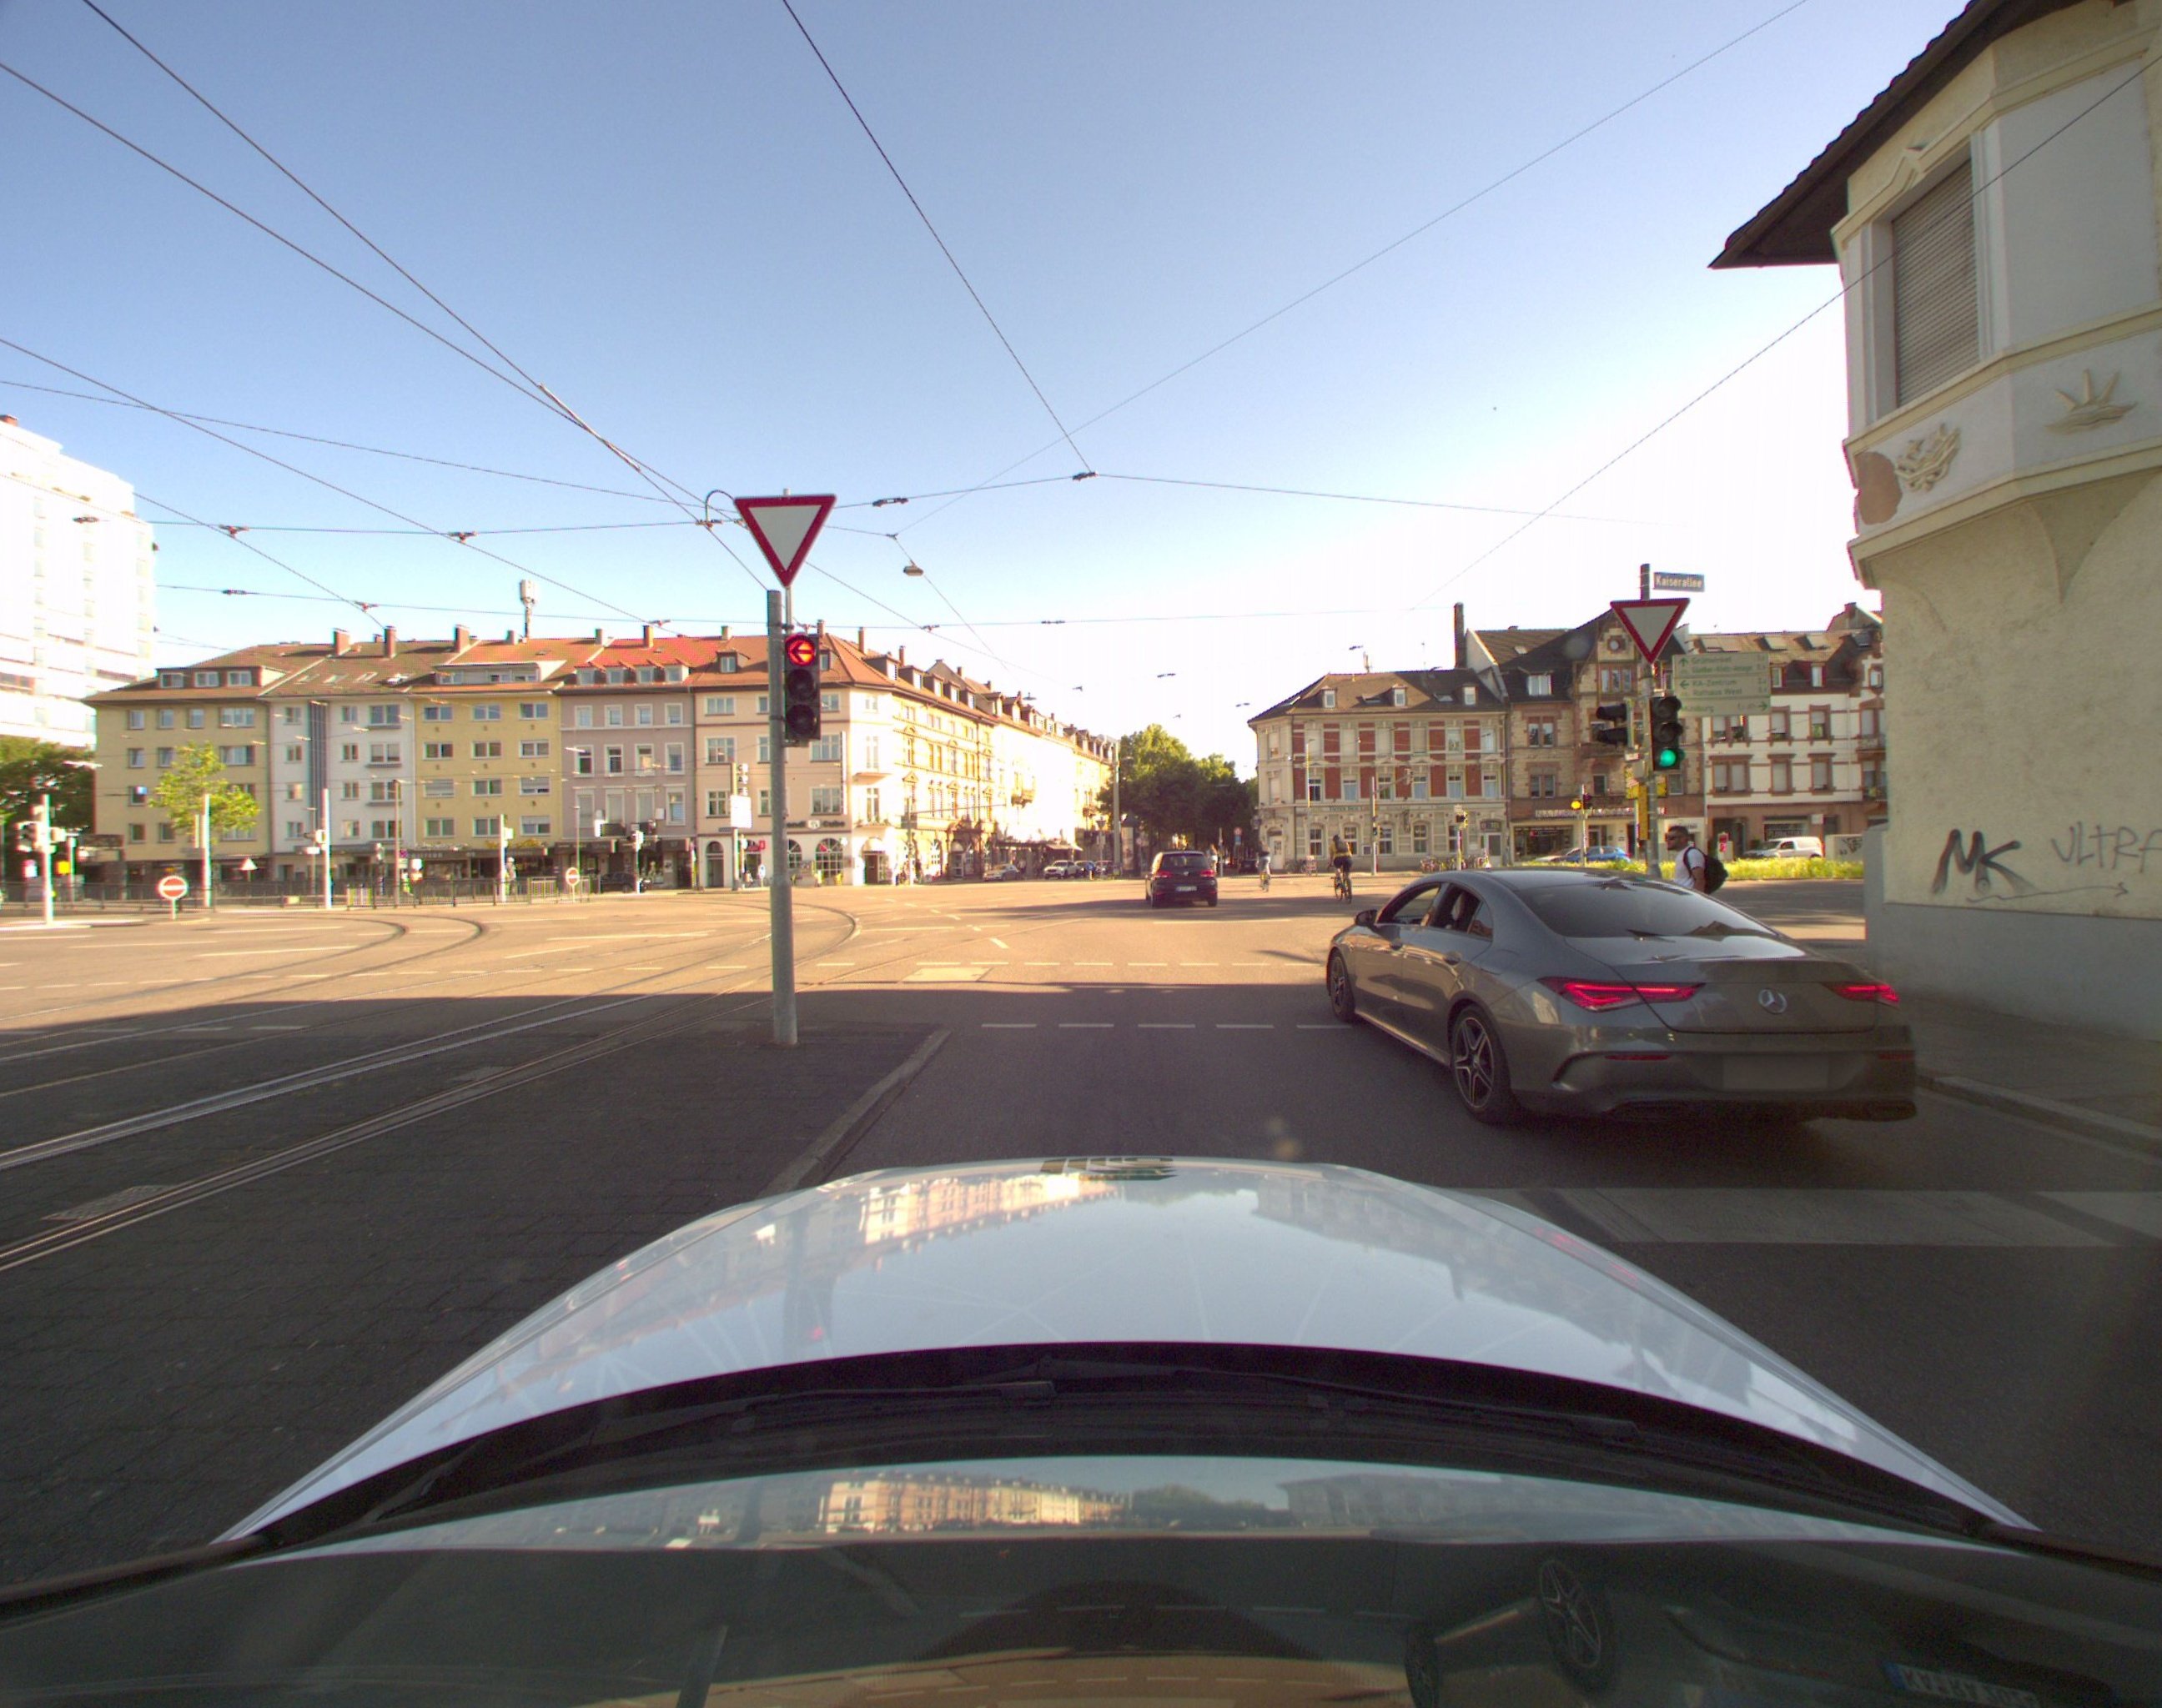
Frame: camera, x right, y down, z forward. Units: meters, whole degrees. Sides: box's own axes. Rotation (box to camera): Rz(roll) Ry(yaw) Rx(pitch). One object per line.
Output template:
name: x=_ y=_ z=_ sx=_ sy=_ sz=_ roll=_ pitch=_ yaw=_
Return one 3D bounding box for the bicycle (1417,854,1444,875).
bicycle: x=22.480 y=0.660 z=52.462 sx=0.689 sy=1.287 sz=2.663 roll=0 pitch=-1 yaw=3

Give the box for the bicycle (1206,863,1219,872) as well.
bicycle: x=15.995 y=1.652 z=98.862 sx=0.630 sy=1.085 sz=1.687 roll=0 pitch=-1 yaw=-28

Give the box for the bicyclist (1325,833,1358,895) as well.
bicyclist: x=7.104 y=0.275 z=22.201 sx=0.799 sy=1.663 sz=0.888 roll=-1 pitch=-1 yaw=19

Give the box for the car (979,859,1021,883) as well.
car: x=-6.672 y=1.368 z=67.438 sx=1.977 sy=1.904 sz=4.019 roll=-1 pitch=-1 yaw=19

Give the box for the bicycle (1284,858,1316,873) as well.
bicycle: x=15.299 y=0.802 z=56.897 sx=2.040 sy=0.998 sz=0.631 roll=-2 pitch=-1 yaw=4

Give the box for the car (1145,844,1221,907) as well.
car: x=2.733 y=0.513 z=22.570 sx=1.722 sy=1.508 sz=4.053 roll=0 pitch=1 yaw=2

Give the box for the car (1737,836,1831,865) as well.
car: x=45.309 y=-0.228 z=52.565 sx=4.349 sy=1.778 sz=2.000 roll=0 pitch=-1 yaw=1

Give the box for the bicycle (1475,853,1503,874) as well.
bicycle: x=26.195 y=0.605 z=52.352 sx=0.626 sy=1.287 sz=2.663 roll=0 pitch=-1 yaw=3

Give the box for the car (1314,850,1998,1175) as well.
car: x=3.164 y=0.716 z=5.841 sx=1.899 sy=1.420 sz=4.496 roll=0 pitch=0 yaw=3

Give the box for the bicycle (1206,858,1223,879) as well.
bicycle: x=6.646 y=0.709 z=40.524 sx=0.644 sy=1.031 sz=1.778 roll=-1 pitch=-1 yaw=15

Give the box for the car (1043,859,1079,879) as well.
car: x=-1.605 y=1.233 z=67.594 sx=1.979 sy=1.618 sz=4.015 roll=-1 pitch=-1 yaw=14

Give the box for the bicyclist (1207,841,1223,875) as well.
bicyclist: x=6.662 y=0.200 z=40.604 sx=0.684 sy=1.633 sz=0.887 roll=-1 pitch=-1 yaw=15

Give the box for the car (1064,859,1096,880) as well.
car: x=-0.067 y=1.370 z=73.744 sx=1.979 sy=1.904 sz=4.015 roll=-1 pitch=-1 yaw=14

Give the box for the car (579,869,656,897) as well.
car: x=-30.591 y=1.918 z=53.817 sx=3.962 sy=1.670 sz=2.006 roll=-2 pitch=0 yaw=10

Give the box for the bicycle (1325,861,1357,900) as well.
bicycle: x=7.164 y=0.707 z=22.406 sx=0.748 sy=1.031 sz=1.789 roll=-1 pitch=-1 yaw=20

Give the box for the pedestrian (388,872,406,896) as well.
pedestrian: x=-47.195 y=2.085 z=56.214 sx=0.631 sy=1.634 sz=0.700 roll=0 pitch=-1 yaw=-2

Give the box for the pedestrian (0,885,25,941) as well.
pedestrian: x=-32.283 y=1.772 z=24.466 sx=0.590 sy=1.664 sz=0.518 roll=0 pitch=-1 yaw=-44

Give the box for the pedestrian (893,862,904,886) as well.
pedestrian: x=-12.639 y=1.365 z=56.365 sx=0.631 sy=1.634 sz=0.700 roll=0 pitch=-1 yaw=-2

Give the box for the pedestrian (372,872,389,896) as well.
pedestrian: x=-49.645 y=2.115 z=57.729 sx=0.631 sy=1.634 sz=0.700 roll=0 pitch=-1 yaw=-2

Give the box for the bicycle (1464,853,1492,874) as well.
bicycle: x=25.500 y=0.609 z=52.381 sx=0.626 sy=1.287 sz=2.663 roll=0 pitch=-1 yaw=3

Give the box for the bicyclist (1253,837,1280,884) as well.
bicyclist: x=6.448 y=0.238 z=28.342 sx=0.801 sy=1.606 sz=0.885 roll=0 pitch=-1 yaw=7

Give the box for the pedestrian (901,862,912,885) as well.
pedestrian: x=-12.358 y=1.356 z=57.710 sx=0.631 sy=1.634 sz=0.700 roll=0 pitch=-1 yaw=-2

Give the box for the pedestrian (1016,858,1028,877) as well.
pedestrian: x=-4.761 y=1.106 z=65.488 sx=0.814 sy=1.512 sz=0.601 roll=-1 pitch=-1 yaw=16

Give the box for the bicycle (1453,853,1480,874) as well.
bicycle: x=24.773 y=0.618 z=52.385 sx=0.626 sy=1.287 sz=2.663 roll=0 pitch=-1 yaw=3

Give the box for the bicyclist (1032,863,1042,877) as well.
bicyclist: x=-3.805 y=1.359 z=70.542 sx=0.626 sy=1.185 sz=0.689 roll=-1 pitch=-1 yaw=23

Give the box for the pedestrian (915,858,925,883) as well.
pedestrian: x=-11.993 y=1.226 z=60.616 sx=0.460 sy=1.881 sz=0.637 roll=-1 pitch=-1 yaw=12

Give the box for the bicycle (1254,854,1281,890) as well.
bicycle: x=6.491 y=0.624 z=28.447 sx=0.751 sy=1.236 sz=1.706 roll=0 pitch=-1 yaw=7

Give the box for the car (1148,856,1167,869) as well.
car: x=11.501 y=1.335 z=122.609 sx=1.977 sy=1.904 sz=4.019 roll=-1 pitch=-1 yaw=19

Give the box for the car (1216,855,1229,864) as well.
car: x=23.341 y=0.922 z=134.497 sx=1.546 sy=1.513 sz=3.673 roll=-1 pitch=-1 yaw=19

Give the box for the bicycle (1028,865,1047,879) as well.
bicycle: x=-3.752 y=1.553 z=70.657 sx=0.644 sy=1.123 sz=2.265 roll=-1 pitch=-1 yaw=23

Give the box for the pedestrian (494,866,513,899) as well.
pedestrian: x=-29.527 y=1.451 z=41.633 sx=0.523 sy=1.628 sz=0.577 roll=0 pitch=-1 yaw=0

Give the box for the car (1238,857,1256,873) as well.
car: x=16.818 y=1.110 z=82.361 sx=1.680 sy=1.565 sz=3.855 roll=-1 pitch=-1 yaw=14

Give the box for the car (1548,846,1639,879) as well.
car: x=28.341 y=0.461 z=45.133 sx=3.769 sy=1.778 sz=2.000 roll=0 pitch=-1 yaw=1

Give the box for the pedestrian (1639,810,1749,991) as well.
pedestrian: x=6.326 y=0.464 z=8.418 sx=0.589 sy=1.756 sz=0.635 roll=-5 pitch=-1 yaw=-37

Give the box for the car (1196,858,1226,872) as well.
car: x=18.340 y=1.566 z=114.722 sx=3.955 sy=1.904 sz=2.009 roll=-1 pitch=-1 yaw=17

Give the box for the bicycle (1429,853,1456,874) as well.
bicycle: x=23.259 y=0.619 z=52.420 sx=0.689 sy=1.287 sz=2.663 roll=0 pitch=-1 yaw=3

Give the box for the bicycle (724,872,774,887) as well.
bicycle: x=-23.427 y=1.790 z=57.465 sx=3.118 sy=0.980 sz=1.002 roll=0 pitch=-1 yaw=1

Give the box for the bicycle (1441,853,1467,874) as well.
bicycle: x=23.982 y=0.600 z=52.413 sx=0.626 sy=1.287 sz=2.663 roll=0 pitch=-1 yaw=3

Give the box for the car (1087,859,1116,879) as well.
car: x=2.065 y=1.405 z=79.918 sx=1.979 sy=1.904 sz=4.015 roll=-1 pitch=-1 yaw=14

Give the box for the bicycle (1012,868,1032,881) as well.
bicycle: x=-4.733 y=1.636 z=65.557 sx=0.756 sy=1.008 sz=2.406 roll=-1 pitch=-1 yaw=16
